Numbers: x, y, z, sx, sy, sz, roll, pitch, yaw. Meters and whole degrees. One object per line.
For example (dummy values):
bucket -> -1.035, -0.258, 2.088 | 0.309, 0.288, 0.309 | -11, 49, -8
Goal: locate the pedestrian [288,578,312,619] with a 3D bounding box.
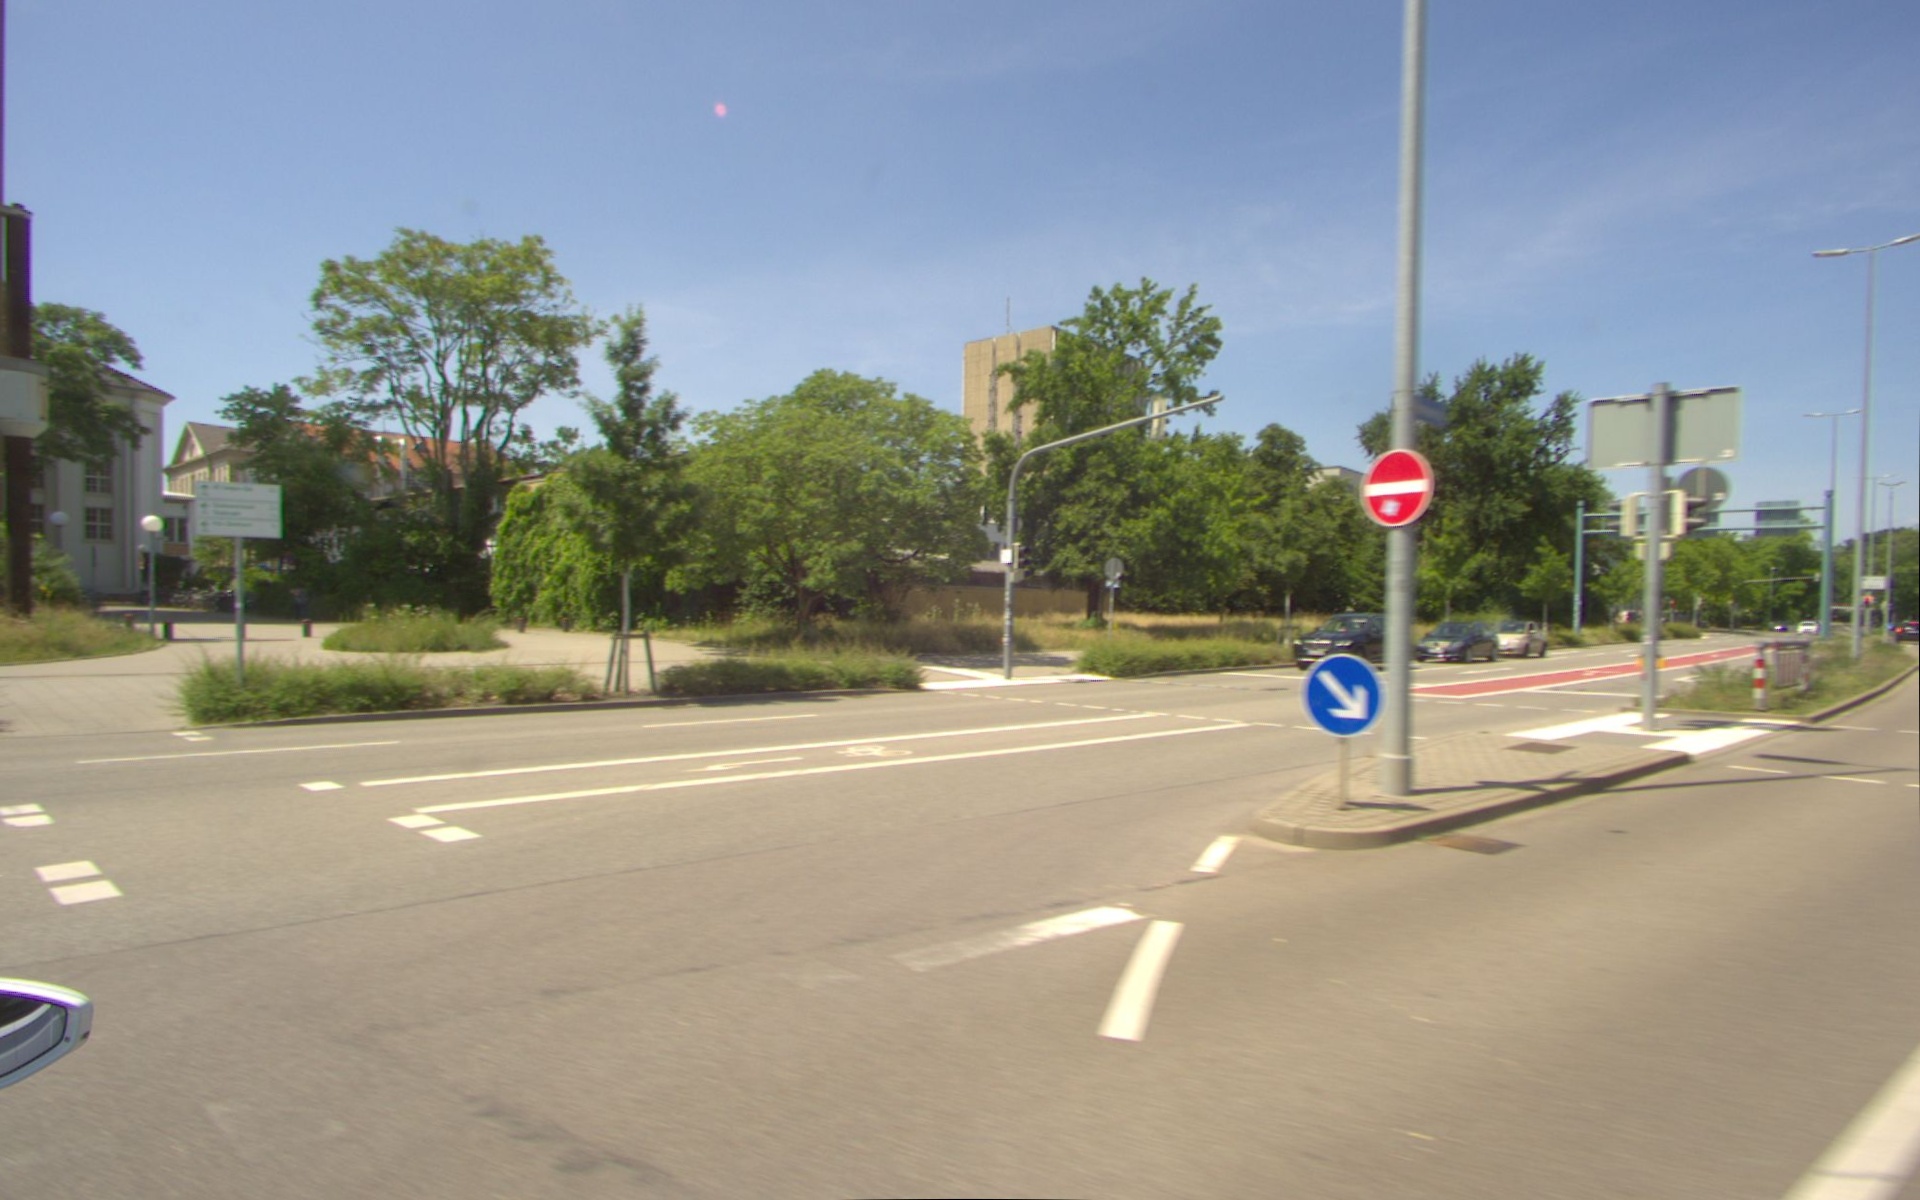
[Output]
pedestrian -> -28.170, -0.062, 42.766 | 0.698, 1.687, 0.636 | 2, -1, 41

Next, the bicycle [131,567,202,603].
bicycle -> -50.217, -0.952, 63.421 | 0.752, 2.039, 3.429 | 2, -1, 44

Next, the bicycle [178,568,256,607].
bicycle -> -42.391, -0.695, 57.162 | 0.752, 2.039, 3.429 | 2, -1, 44

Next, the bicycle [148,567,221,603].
bicycle -> -47.739, -0.897, 61.690 | 0.752, 2.039, 3.429 | 2, -1, 44

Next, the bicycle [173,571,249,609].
bicycle -> -44.352, -0.580, 59.342 | 0.752, 2.039, 3.429 | 2, -1, 44

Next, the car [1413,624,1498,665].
car -> 17.796, 1.623, 35.885 | 1.739, 1.327, 3.969 | 2, -2, 42

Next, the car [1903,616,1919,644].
car -> 63.394, 1.989, 65.891 | 1.758, 1.690, 3.970 | 2, -2, 41

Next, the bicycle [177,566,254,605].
bicycle -> -43.187, -0.808, 58.151 | 0.752, 2.039, 3.429 | 2, -1, 44

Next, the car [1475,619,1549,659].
car -> 22.366, 1.584, 40.520 | 1.739, 1.457, 3.969 | 2, -2, 42

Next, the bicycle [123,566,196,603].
bicycle -> -49.823, -0.956, 62.402 | 0.752, 2.039, 3.429 | 2, -1, 44

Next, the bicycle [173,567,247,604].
bicycle -> -45.686, -0.839, 61.048 | 0.752, 2.039, 3.429 | 2, -1, 44

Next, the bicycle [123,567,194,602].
bicycle -> -51.326, -0.972, 64.175 | 0.752, 2.039, 3.429 | 2, -1, 44

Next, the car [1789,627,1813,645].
car -> 91.308, 3.921, 108.700 | 1.718, 1.708, 3.883 | 2, -2, 43

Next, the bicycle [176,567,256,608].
bicycle -> -41.505, -0.669, 55.921 | 0.752, 2.039, 3.429 | 2, -1, 44

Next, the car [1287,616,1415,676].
car -> 11.686, 1.300, 29.775 | 4.508, 1.607, 1.693 | 1, 1, -42
